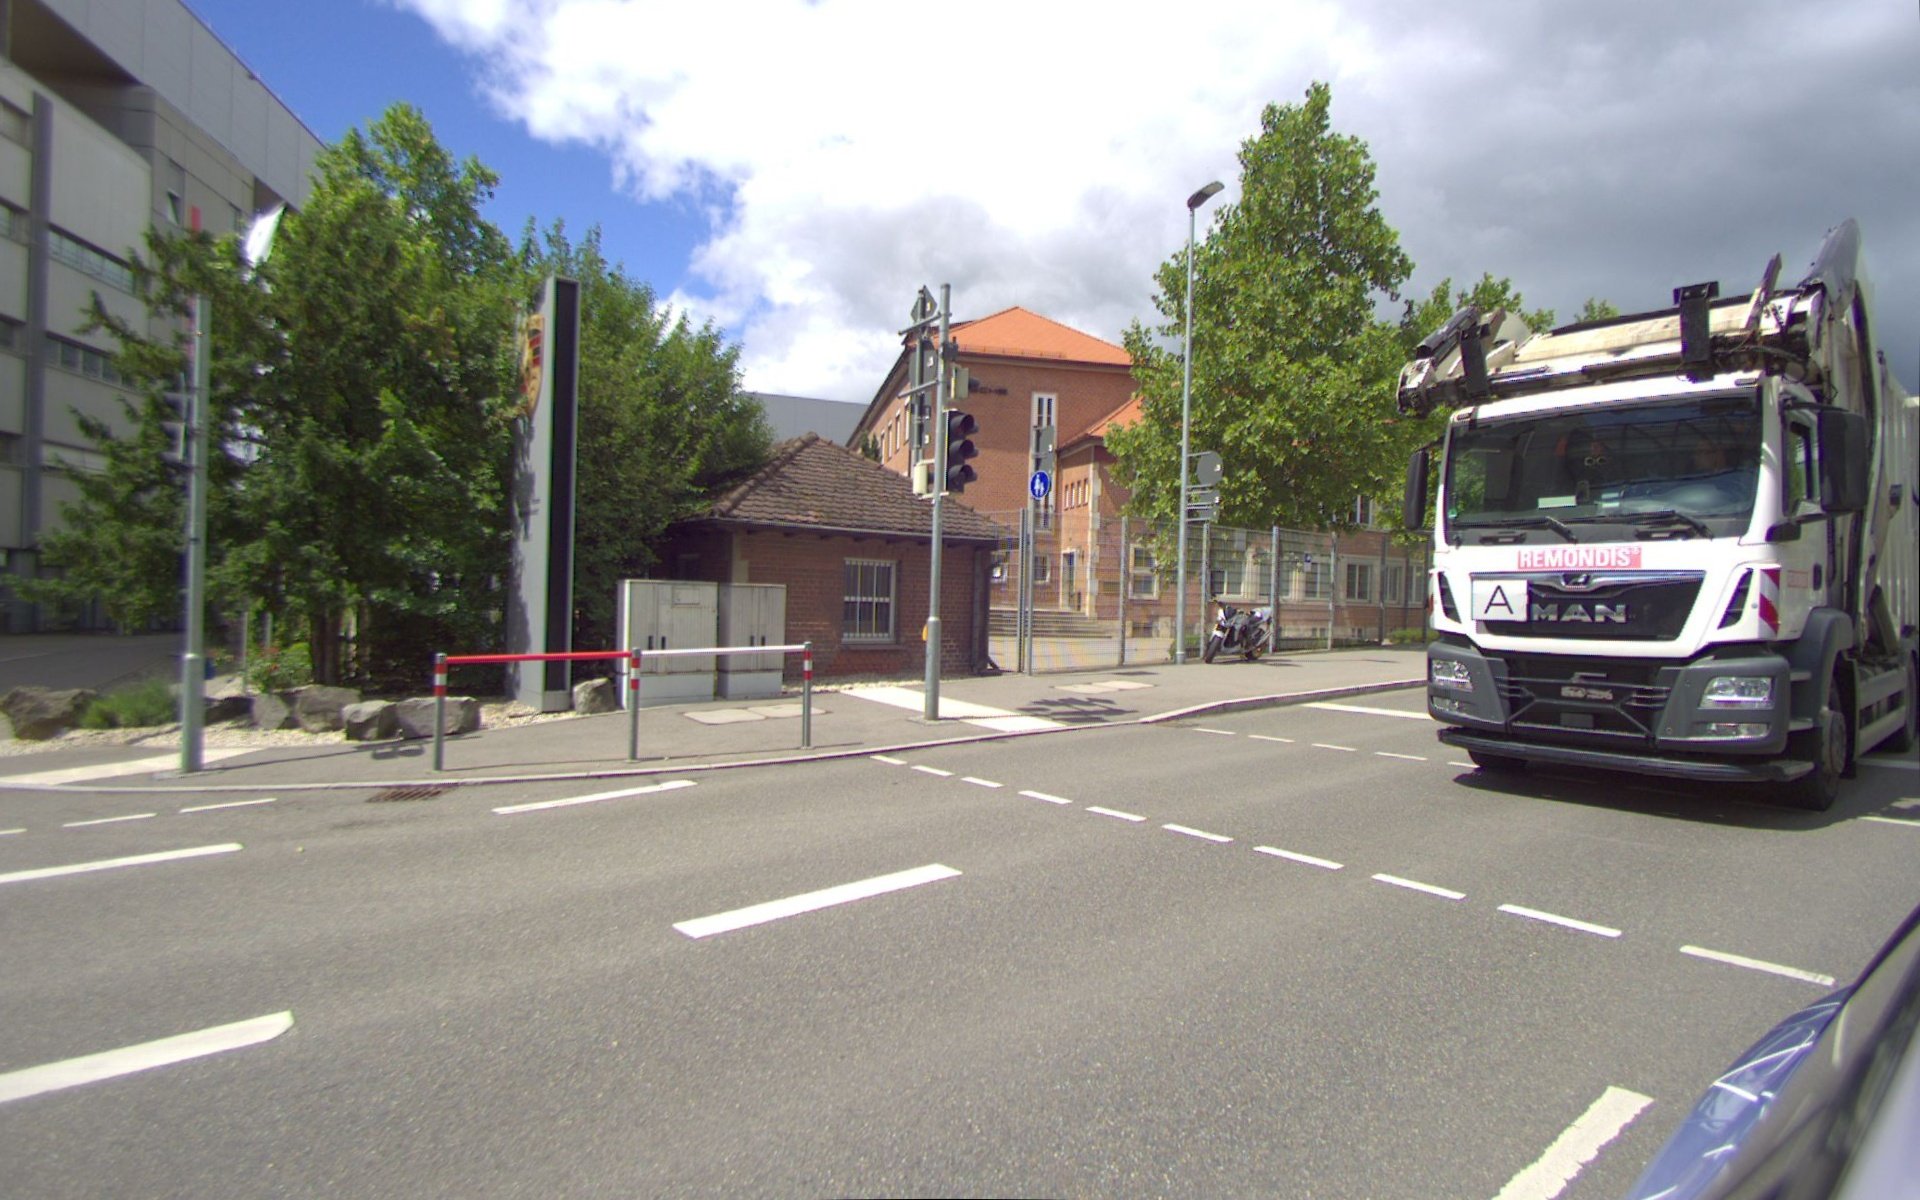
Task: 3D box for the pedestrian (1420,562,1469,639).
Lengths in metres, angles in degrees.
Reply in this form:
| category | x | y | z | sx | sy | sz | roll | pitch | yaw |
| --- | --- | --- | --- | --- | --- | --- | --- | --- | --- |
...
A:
| category | x | y | z | sx | sy | sz | roll | pitch | yaw |
| --- | --- | --- | --- | --- | --- | --- | --- | --- | --- |
| pedestrian | 11.602 | 0.004 | 24.226 | 0.998 | 1.788 | 0.728 | 0 | 0 | -41 |

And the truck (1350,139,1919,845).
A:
| category | x | y | z | sx | sy | sz | roll | pitch | yaw |
| --- | --- | --- | --- | --- | --- | --- | --- | --- | --- |
| truck | 7.815 | -0.663 | 10.158 | 10.555 | 3.934 | 2.710 | -1 | 0 | -41 |

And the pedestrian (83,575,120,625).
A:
| category | x | y | z | sx | sy | sz | roll | pitch | yaw |
| --- | --- | --- | --- | --- | --- | --- | --- | --- | --- |
| pedestrian | -29.886 | 0.000 | 35.250 | 0.739 | 1.714 | 0.747 | 0 | 0 | -18 |

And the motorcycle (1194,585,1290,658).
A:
| category | x | y | z | sx | sy | sz | roll | pitch | yaw |
| --- | --- | --- | --- | --- | --- | --- | --- | --- | --- |
| motorcycle | 5.118 | 0.351 | 18.291 | 2.138 | 1.241 | 0.570 | -1 | 3 | -41 |

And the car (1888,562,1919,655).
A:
| category | x | y | z | sx | sy | sz | roll | pitch | yaw |
| --- | --- | --- | --- | --- | --- | --- | --- | --- | --- |
| car | 22.516 | 0.144 | 22.732 | 4.628 | 1.980 | 1.870 | -1 | 0 | -40 |

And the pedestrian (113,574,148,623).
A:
| category | x | y | z | sx | sy | sz | roll | pitch | yaw |
| --- | --- | --- | --- | --- | --- | --- | --- | --- | --- |
| pedestrian | -29.045 | -0.052 | 35.437 | 0.739 | 1.714 | 0.747 | 0 | 0 | -18 |

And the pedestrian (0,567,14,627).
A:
| category | x | y | z | sx | sy | sz | roll | pitch | yaw |
| --- | --- | --- | --- | --- | --- | --- | --- | --- | --- |
| pedestrian | -31.471 | -0.093 | 32.931 | 0.739 | 1.913 | 0.747 | 0 | 0 | -18 |
